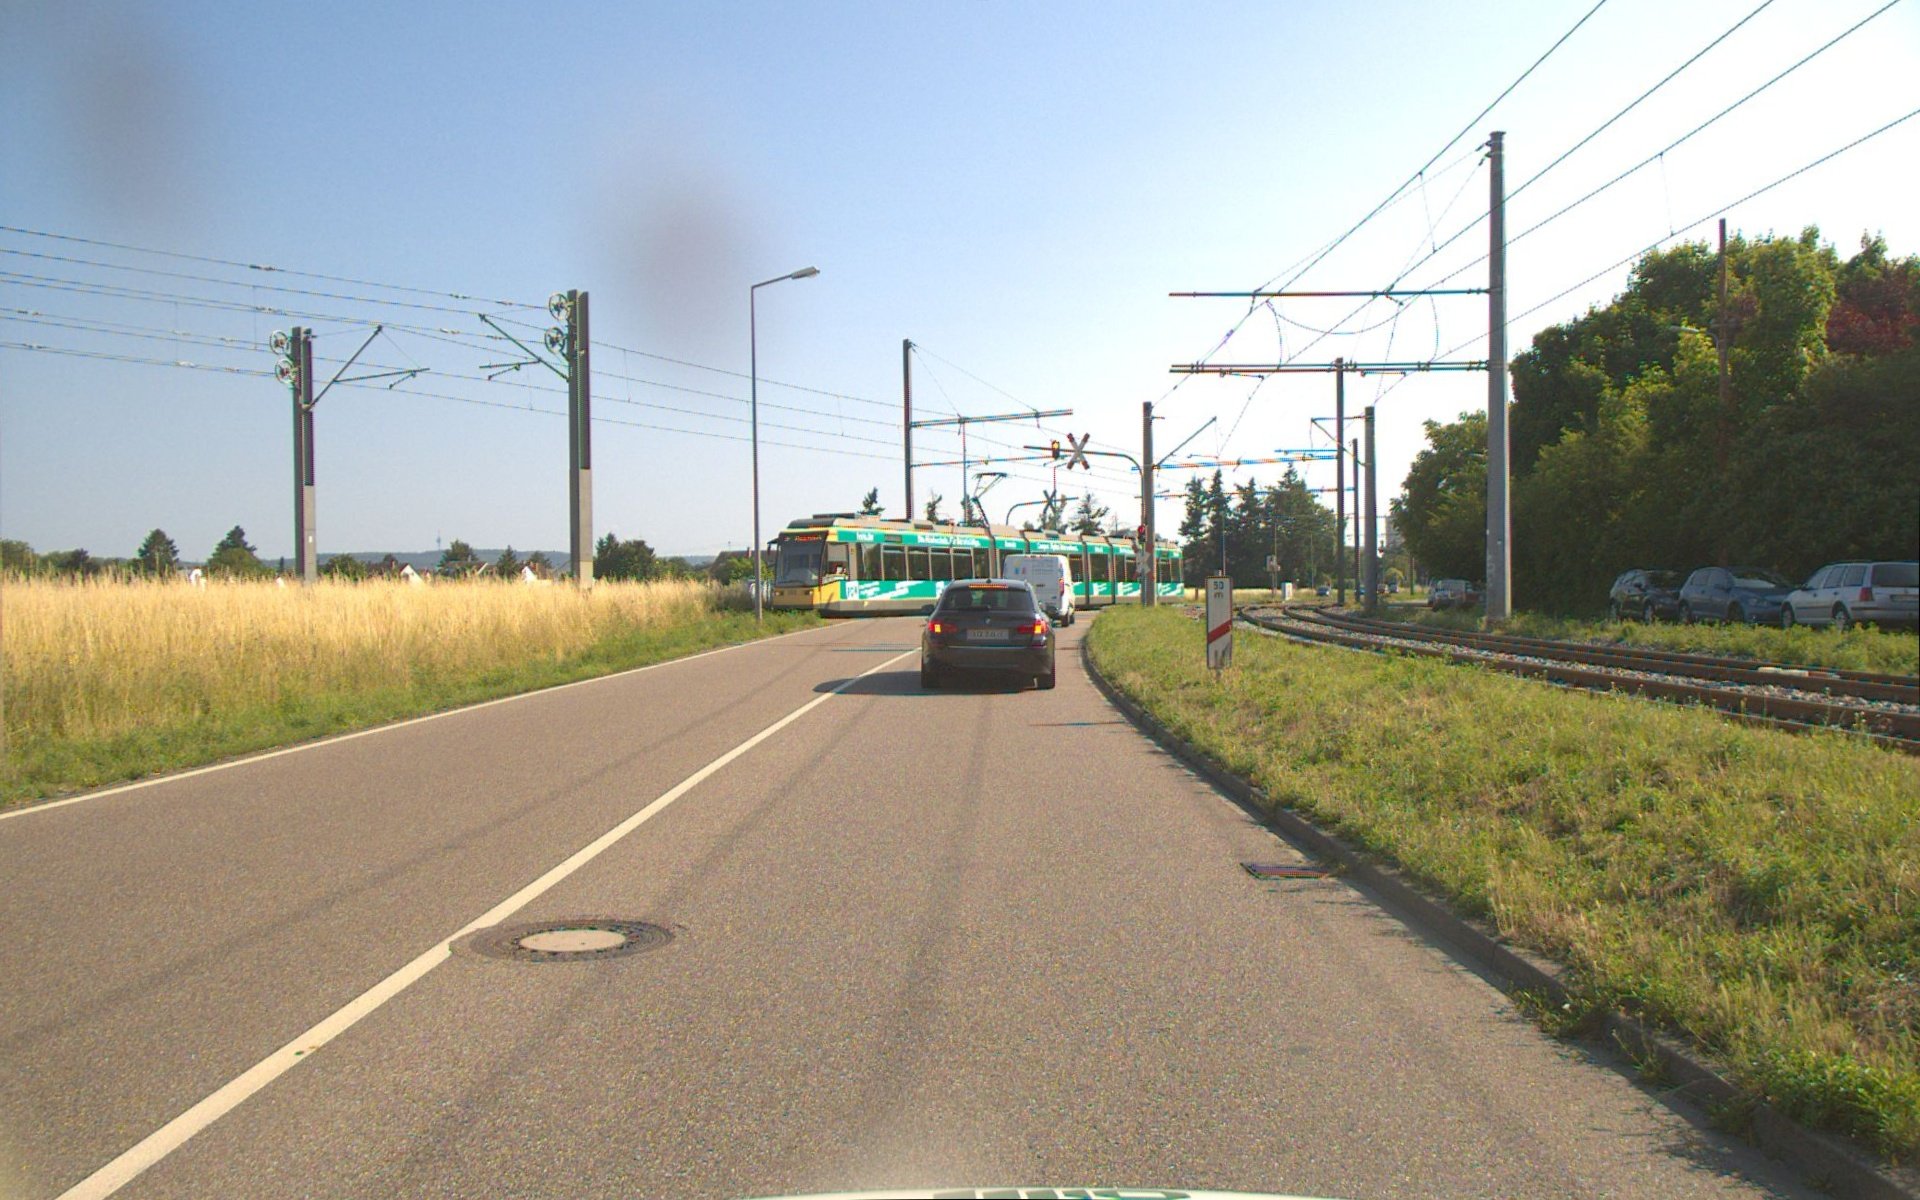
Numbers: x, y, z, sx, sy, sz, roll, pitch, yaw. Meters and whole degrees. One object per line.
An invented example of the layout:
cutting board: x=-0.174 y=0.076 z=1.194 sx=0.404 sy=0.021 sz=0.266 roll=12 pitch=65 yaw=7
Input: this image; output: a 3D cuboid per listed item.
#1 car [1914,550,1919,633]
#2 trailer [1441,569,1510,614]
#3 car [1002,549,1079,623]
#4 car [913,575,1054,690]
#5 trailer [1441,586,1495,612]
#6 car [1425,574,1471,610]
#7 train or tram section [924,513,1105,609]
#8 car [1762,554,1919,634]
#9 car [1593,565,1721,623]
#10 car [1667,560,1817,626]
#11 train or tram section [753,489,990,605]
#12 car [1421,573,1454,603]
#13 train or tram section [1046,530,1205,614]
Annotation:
car: x=17.553 y=-0.106 z=27.324 sx=1.642 sy=1.455 sz=3.914 roll=1 pitch=1 yaw=6
trailer: x=19.968 y=-0.339 z=64.226 sx=1.983 sy=1.624 sz=4.263 roll=2 pitch=1 yaw=10
car: x=2.405 y=-0.412 z=48.108 sx=1.818 sy=2.023 sz=5.112 roll=0 pitch=1 yaw=7
car: x=0.391 y=0.384 z=23.806 sx=1.830 sy=1.478 sz=4.745 roll=0 pitch=1 yaw=2
trailer: x=20.912 y=-0.060 z=68.168 sx=1.694 sy=0.955 sz=3.731 roll=3 pitch=1 yaw=11
car: x=21.601 y=-0.370 z=73.350 sx=1.662 sy=1.482 sz=4.885 roll=2 pitch=1 yaw=13
train or tram section: x=2.597 y=-1.504 z=70.533 sx=2.860 sy=3.514 sz=12.151 roll=1 pitch=-1 yaw=27
car: x=17.908 y=-0.152 z=33.307 sx=1.673 sy=1.491 sz=4.393 roll=-1 pitch=1 yaw=5
car: x=18.111 y=-0.166 z=43.171 sx=1.589 sy=1.435 sz=4.523 roll=1 pitch=0 yaw=2
car: x=17.887 y=-0.171 z=38.033 sx=1.454 sy=1.425 sz=4.150 roll=-1 pitch=0 yaw=0
train or tram section: x=-2.841 y=-1.722 z=59.623 sx=2.893 sy=3.546 sz=12.151 roll=1 pitch=-1 yaw=26
car: x=34.659 y=-0.883 z=120.041 sx=1.952 sy=2.039 sz=5.069 roll=2 pitch=1 yaw=19
train or tram section: x=8.525 y=-1.223 z=82.370 sx=2.850 sy=3.631 sz=14.242 roll=1 pitch=-1 yaw=27
